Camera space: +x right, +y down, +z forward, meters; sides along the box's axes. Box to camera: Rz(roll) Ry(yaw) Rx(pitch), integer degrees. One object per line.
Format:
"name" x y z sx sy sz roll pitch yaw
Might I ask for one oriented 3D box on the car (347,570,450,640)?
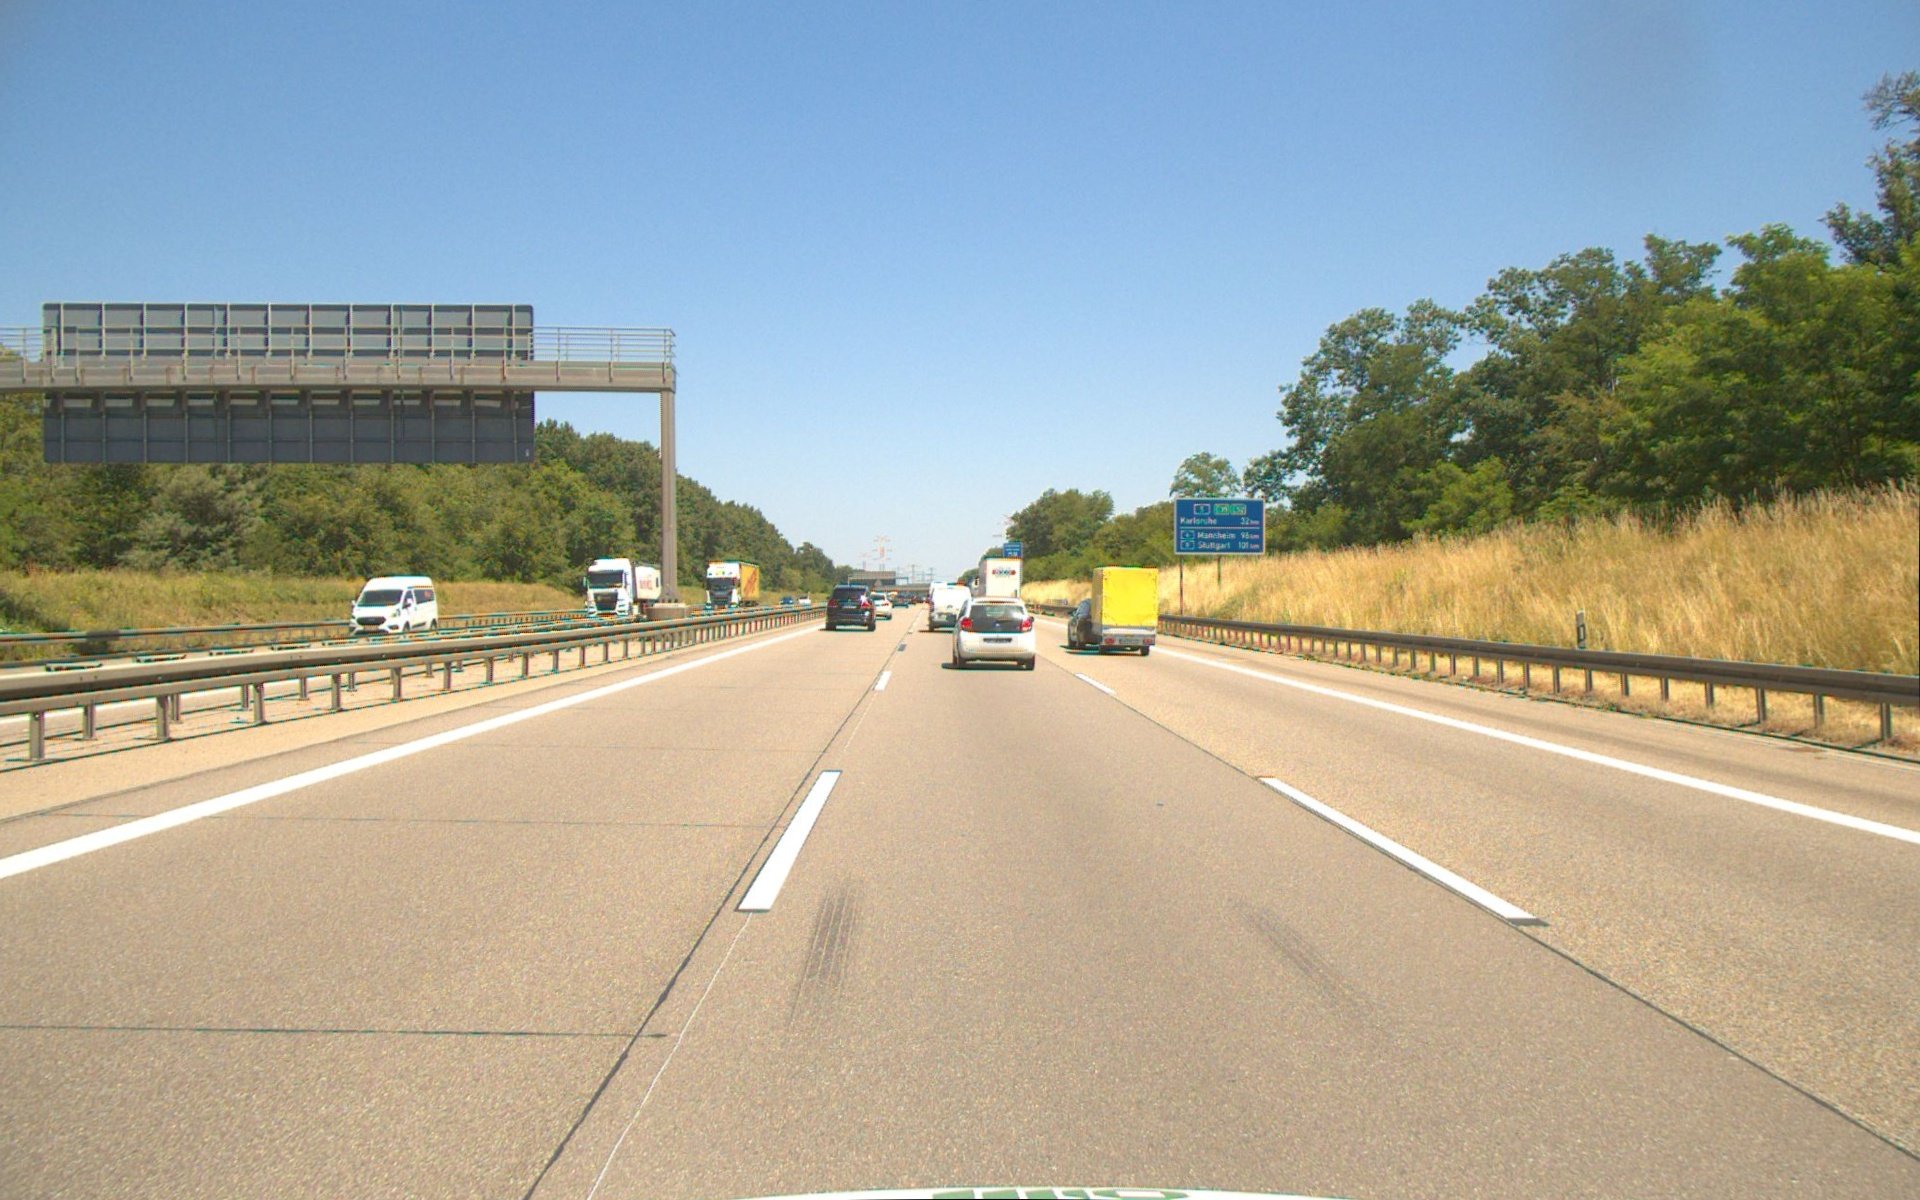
"car" -20.856 0.165 61.689 1.948 2.381 5.808 -3 0 -2

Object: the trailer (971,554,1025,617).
"trailer" 2.655 -0.981 120.070 3.219 4.293 13.560 1 0 -1

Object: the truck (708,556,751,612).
"truck" -18.008 -1.269 129.609 2.414 4.143 6.285 -3 0 -1

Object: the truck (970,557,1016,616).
"truck" 2.479 -1.007 127.086 3.219 4.293 6.005 1 0 -2

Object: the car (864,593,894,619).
"car" -4.545 0.312 93.254 1.635 1.426 3.711 0 1 -2

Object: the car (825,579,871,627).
"car" -4.376 0.099 65.082 1.593 1.785 3.804 1 0 -1

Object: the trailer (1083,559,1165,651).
"trailer" 4.370 0.130 44.600 1.669 2.329 3.838 1 0 -2

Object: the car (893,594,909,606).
"car" -6.407 0.017 179.870 1.574 1.323 3.673 1 0 -1

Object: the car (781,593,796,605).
"car" -24.064 -0.205 232.020 1.667 1.572 4.534 -3 0 -1

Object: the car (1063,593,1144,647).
"car" 4.180 0.545 48.912 1.785 1.481 4.786 1 0 -2

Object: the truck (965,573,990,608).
"truck" 1.964 -1.053 185.918 2.628 3.904 4.442 1 0 -2

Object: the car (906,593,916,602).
"car" -6.811 -0.324 229.099 1.377 1.151 3.357 1 0 -1

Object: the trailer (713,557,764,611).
"trailer" -18.143 -1.312 136.106 2.414 4.143 14.276 -3 0 -1

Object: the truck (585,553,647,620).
"truck" -22.017 -0.871 106.021 2.572 4.017 6.481 -3 0 -1

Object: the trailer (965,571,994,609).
"trailer" 2.095 -1.060 180.148 2.628 3.904 12.006 1 0 -1

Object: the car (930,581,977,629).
"car" -0.293 0.186 66.772 1.777 1.859 5.109 0 0 -1

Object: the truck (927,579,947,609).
"truck" -2.397 -0.607 171.667 2.018 2.965 7.001 0 0 -1

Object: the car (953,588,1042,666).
"car" 0.738 0.525 34.730 1.673 1.521 4.023 1 0 -1

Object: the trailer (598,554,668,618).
"trailer" -22.123 -0.918 112.385 2.572 4.017 11.155 -3 0 -1
